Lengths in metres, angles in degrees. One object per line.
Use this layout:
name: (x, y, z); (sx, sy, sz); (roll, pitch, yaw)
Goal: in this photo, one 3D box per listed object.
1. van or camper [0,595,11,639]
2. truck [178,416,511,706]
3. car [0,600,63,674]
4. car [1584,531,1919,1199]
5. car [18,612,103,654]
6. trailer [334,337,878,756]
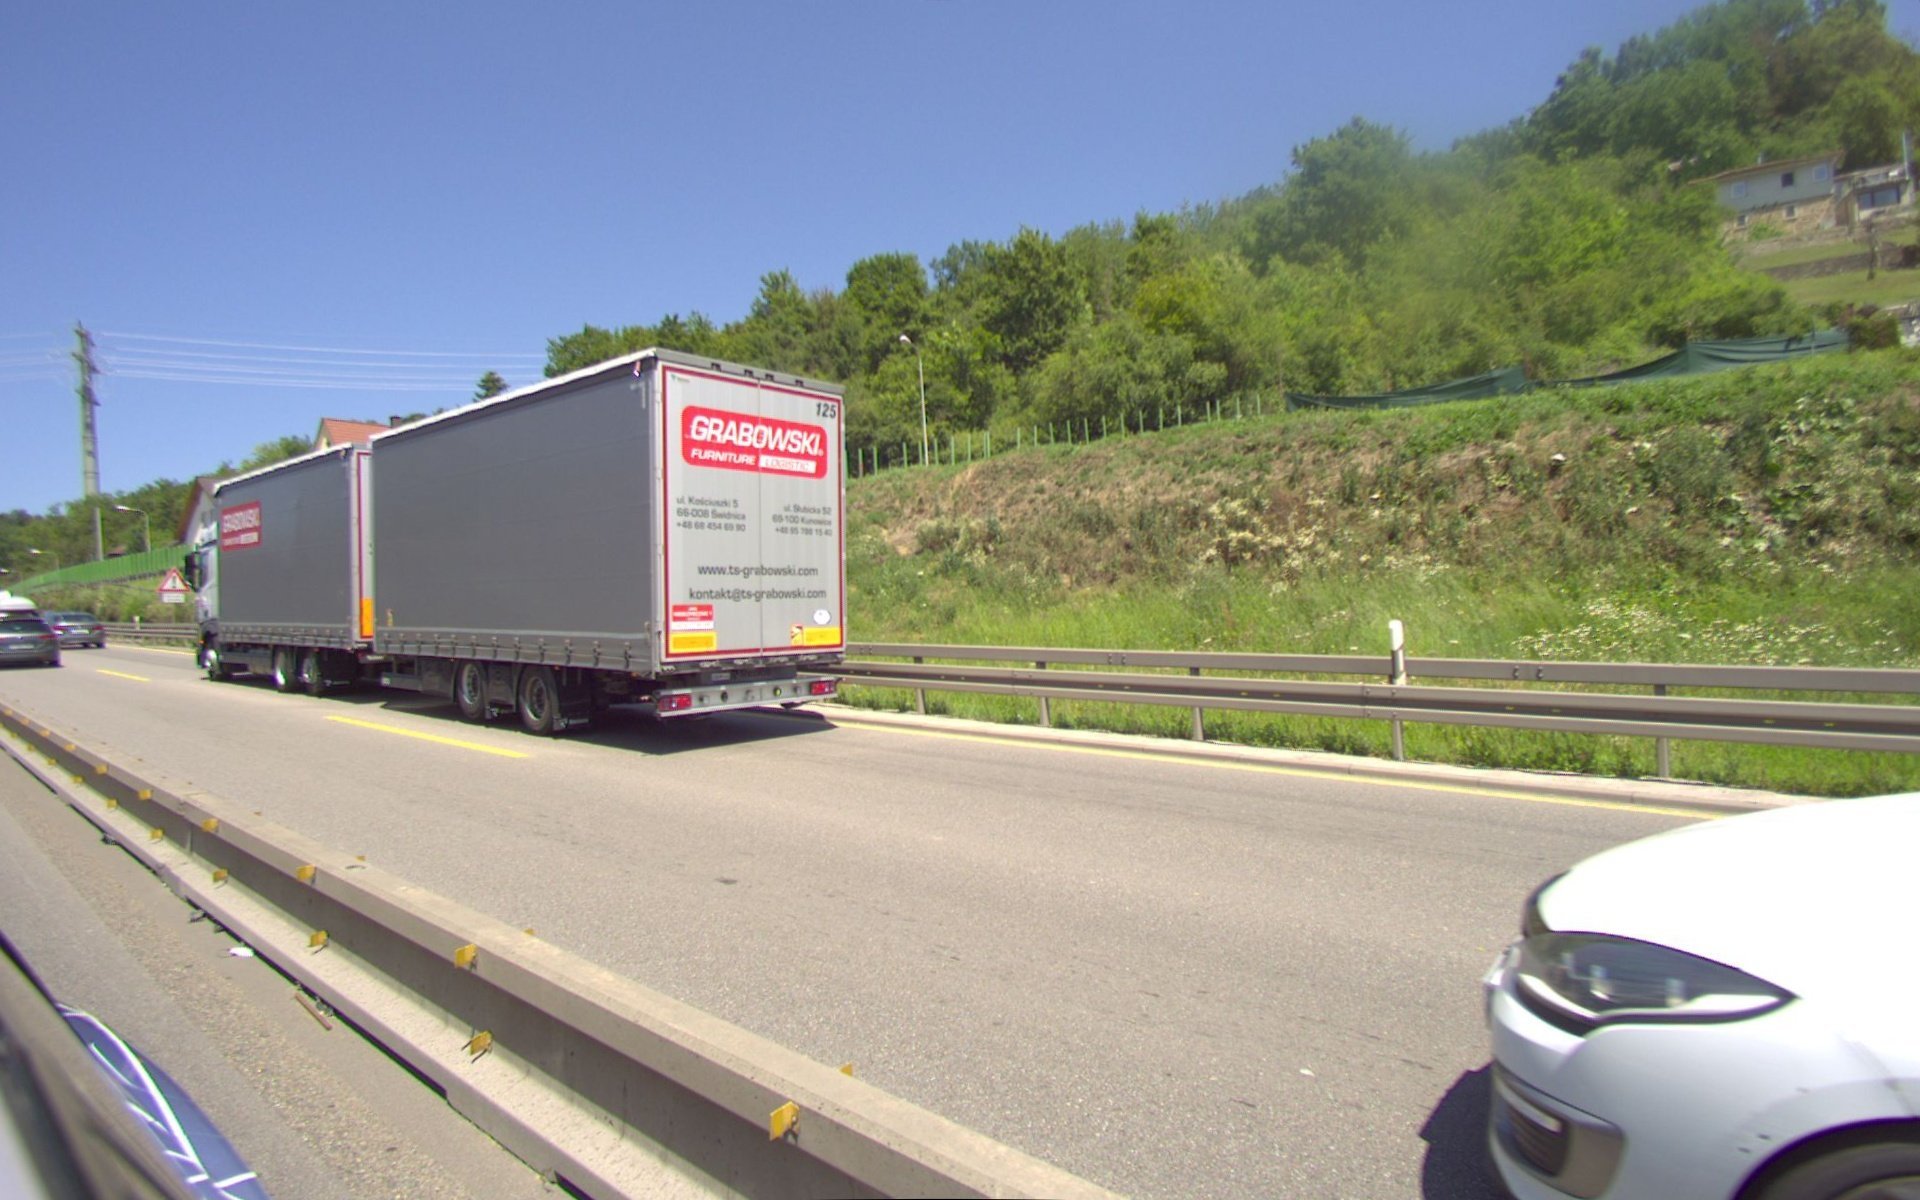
van or camper: (-60.217, 1.041, 62.052); (6.900, 2.654, 2.325); (0, 0, 42)
truck: (-12.477, -0.536, 19.857); (10.380, 4.430, 2.593); (-1, 0, 41)
car: (-26.338, 0.996, 27.937); (4.499, 1.904, 1.830); (-2, -1, 41)
car: (3.211, 0.598, 1.166); (3.998, 1.475, 1.783); (-1, 0, 41)
car: (-36.404, 1.282, 40.907); (5.299, 1.519, 1.972); (0, 0, 42)
trailer: (-5.231, -0.465, 13.635); (8.700, 4.019, 2.899); (-1, 0, 40)
